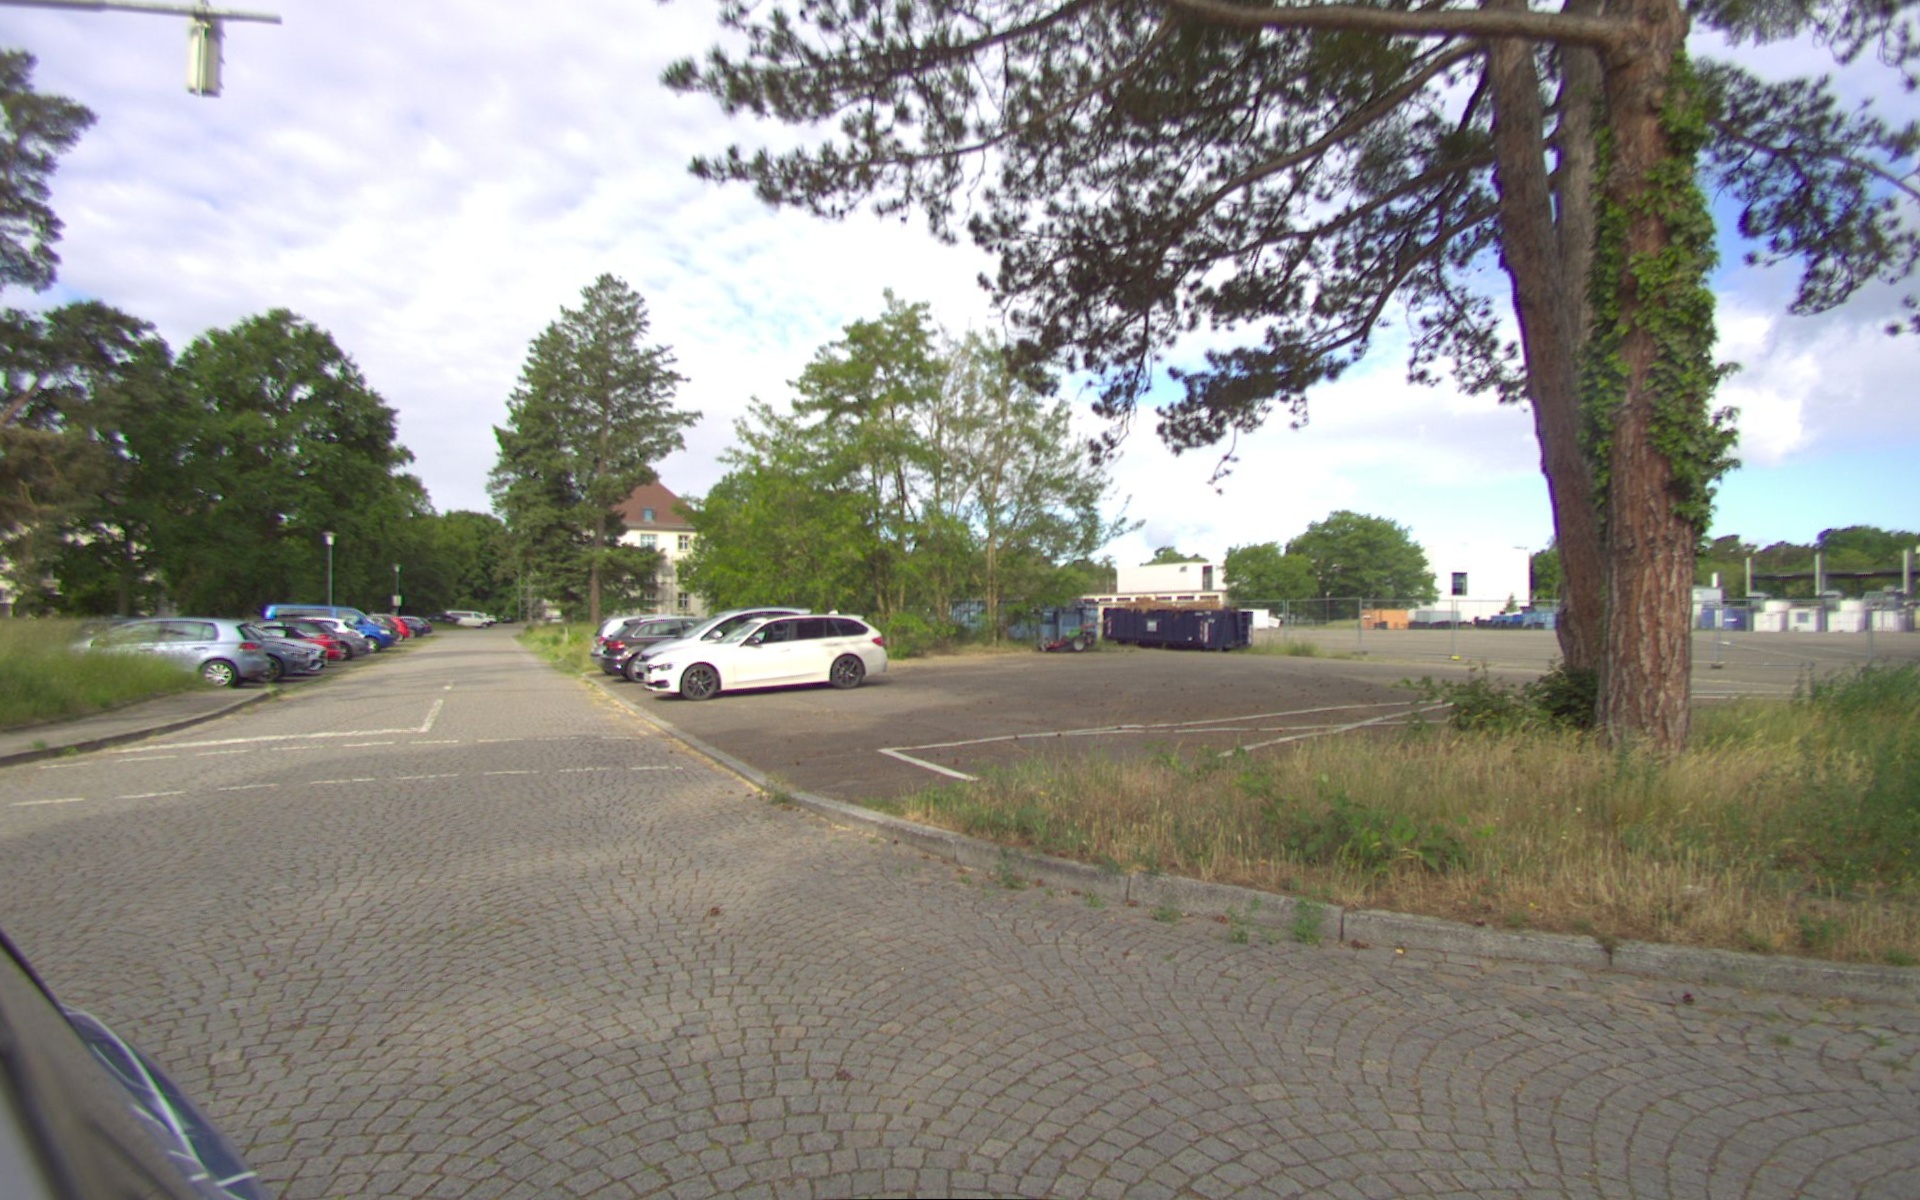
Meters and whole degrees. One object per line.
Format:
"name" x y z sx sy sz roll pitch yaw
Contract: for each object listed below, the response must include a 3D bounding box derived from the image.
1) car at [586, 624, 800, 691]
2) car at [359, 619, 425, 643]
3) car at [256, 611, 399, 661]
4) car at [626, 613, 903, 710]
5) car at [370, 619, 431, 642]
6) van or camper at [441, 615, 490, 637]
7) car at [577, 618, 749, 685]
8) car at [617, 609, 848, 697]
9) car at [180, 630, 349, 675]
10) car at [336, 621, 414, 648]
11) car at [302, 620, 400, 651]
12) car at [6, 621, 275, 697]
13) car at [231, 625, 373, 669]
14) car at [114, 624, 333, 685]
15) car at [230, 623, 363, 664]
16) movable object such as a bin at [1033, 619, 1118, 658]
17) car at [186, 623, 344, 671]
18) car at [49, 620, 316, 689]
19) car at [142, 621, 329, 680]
"car" -6.247 1.290 23.776 4.555 1.433 1.891 1 -1 -27
"car" -38.913 2.130 69.412 3.728 1.581 2.007 1 -1 -23
"car" -26.454 1.496 42.528 4.761 2.029 2.006 1 -1 -20
"car" -3.657 1.069 19.116 4.738 1.450 1.919 -2 0 -27
"car" -40.622 2.202 73.573 3.728 1.637 2.007 1 -1 -23
"van or camper" -58.390 3.039 119.540 5.160 2.482 2.216 1 -1 -27
"car" -7.636 1.264 26.081 3.919 1.467 1.686 -2 0 -29
"car" -4.784 1.052 21.421 4.410 1.602 1.853 -1 -1 -29
"car" -20.653 1.536 30.231 3.867 1.244 1.802 1 -1 -23
"car" -34.618 2.021 59.999 3.931 1.581 2.006 1 -1 -28
"car" -30.354 1.773 50.595 3.930 1.516 1.875 1 -1 -22
"car" -16.605 1.161 20.777 3.930 1.429 1.802 1 -1 -24
"car" -22.710 1.592 35.095 3.867 1.446 1.802 1 -1 -24
"car" -18.615 1.336 25.824 4.196 1.456 1.802 1 -1 -22
"car" -24.562 1.596 37.632 3.867 1.460 1.802 1 -1 -24
"movable object such as a bin" 3.716 1.218 32.561 2.495 1.221 1.174 0 -1 -25
"car" -22.137 1.472 32.429 3.867 1.487 1.802 1 -1 -23
"car" -17.635 1.200 23.272 4.553 1.456 1.802 1 -1 -24
"car" -19.788 1.357 27.846 3.867 1.524 1.802 1 -1 -22
